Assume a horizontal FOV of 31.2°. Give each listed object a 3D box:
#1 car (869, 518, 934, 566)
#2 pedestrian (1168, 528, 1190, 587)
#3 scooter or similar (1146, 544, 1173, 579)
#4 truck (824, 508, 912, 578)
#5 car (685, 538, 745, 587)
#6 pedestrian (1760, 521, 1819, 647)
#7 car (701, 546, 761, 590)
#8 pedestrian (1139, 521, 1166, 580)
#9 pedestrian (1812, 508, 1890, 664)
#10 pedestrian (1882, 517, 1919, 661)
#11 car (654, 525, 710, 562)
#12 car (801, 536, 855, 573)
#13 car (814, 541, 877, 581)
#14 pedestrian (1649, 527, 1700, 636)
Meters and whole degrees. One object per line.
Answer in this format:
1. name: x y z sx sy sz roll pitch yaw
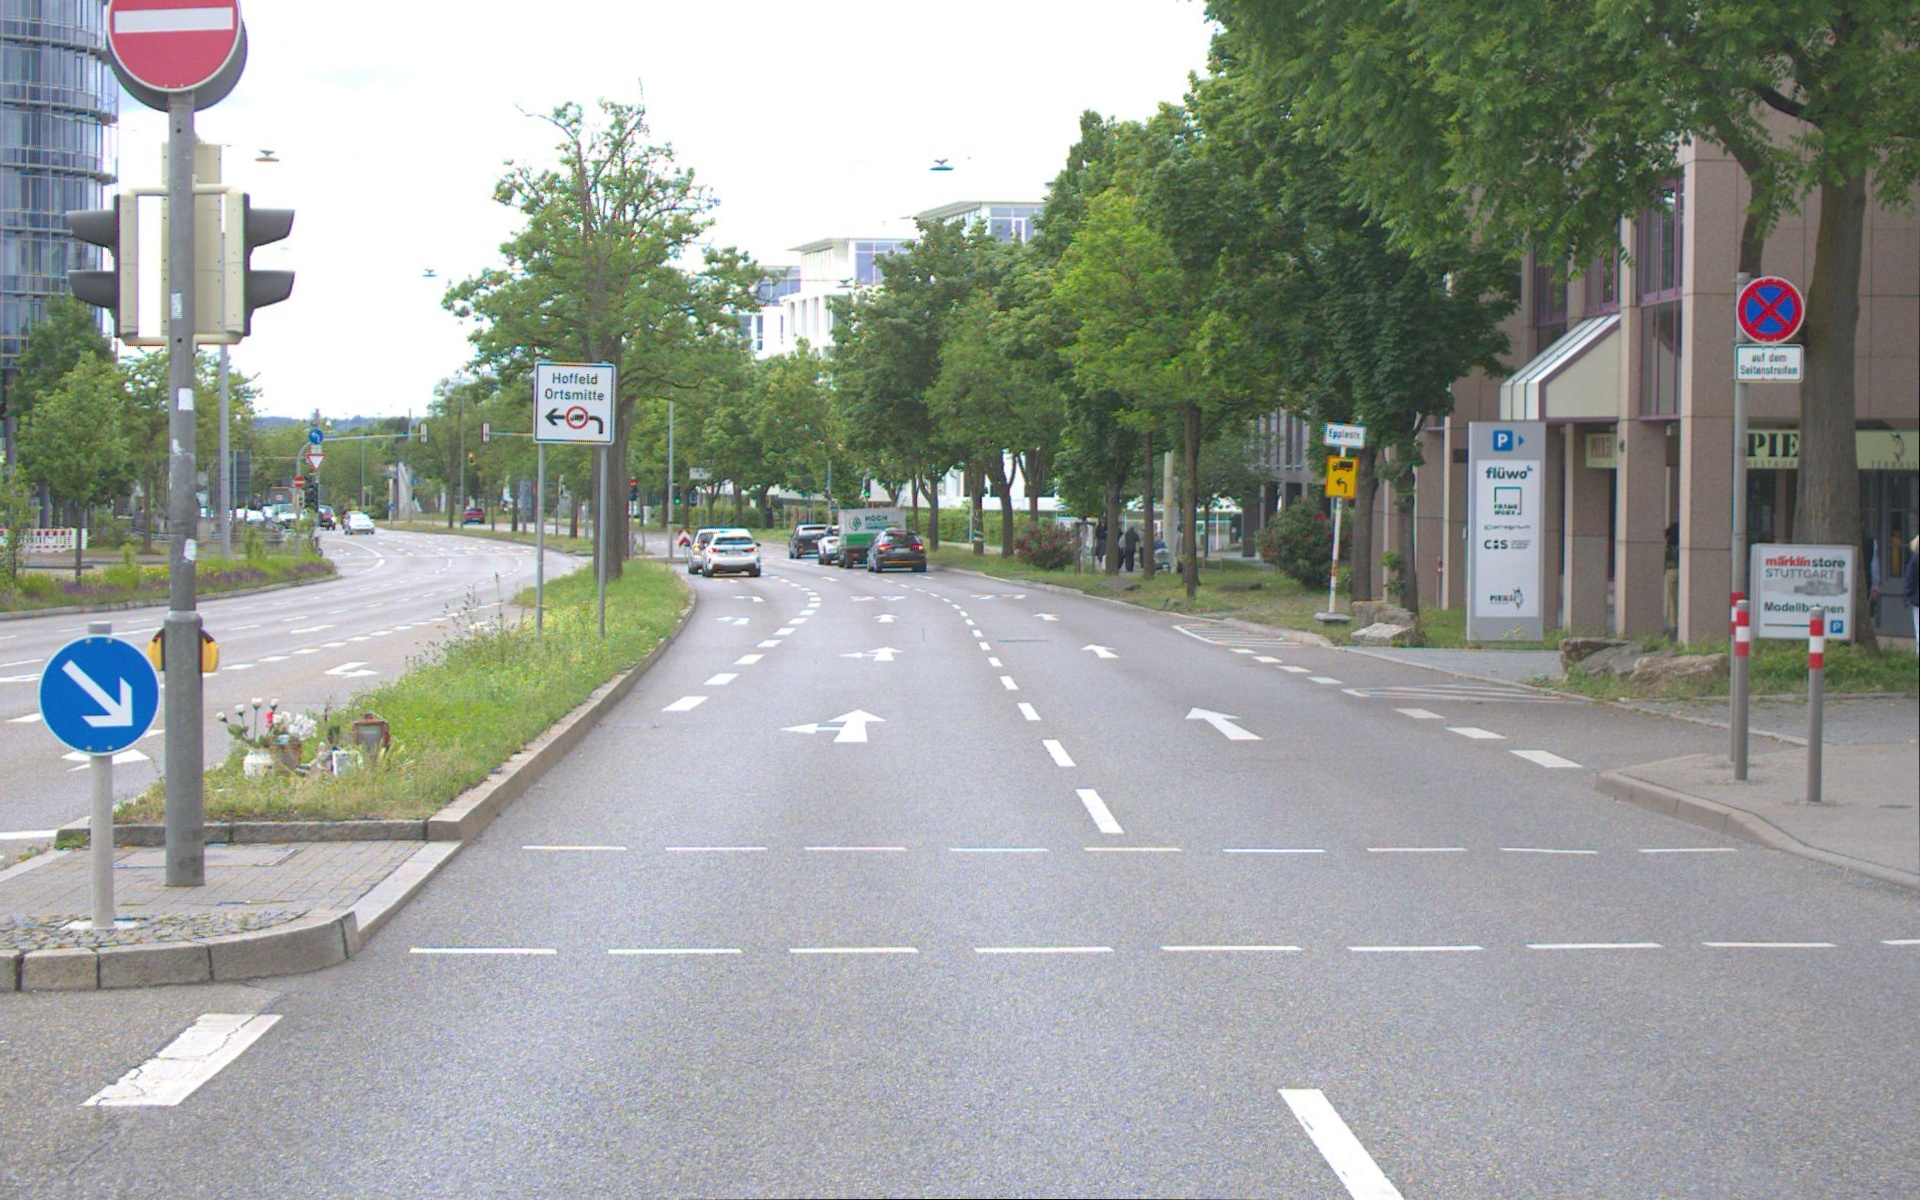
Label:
1. car: -2.022 -1.971 117.139 1.993 1.590 4.001 0 1 -4
2. pedestrian: 6.270 -1.217 98.500 0.567 1.694 0.829 0 0 -1
3. scooter or similar: 5.664 -1.092 97.548 0.583 0.990 0.847 -1 1 -9
4. truck: -3.423 -2.064 126.874 2.859 2.511 6.288 0 0 -5
5. car: -8.486 -1.287 118.920 1.993 1.666 4.001 0 0 -5
6. pedestrian: 10.260 -0.202 42.533 0.561 1.544 0.544 -1 1 -1
7. car: -7.582 -1.052 113.650 1.863 1.444 4.001 0 0 -5
8. pedestrian: 5.505 -1.419 98.439 0.555 1.647 0.962 -1 1 -9
9. pedestrian: 10.609 -0.167 40.968 0.657 1.820 0.843 -1 1 -1
10. pedestrian: 11.429 -0.140 40.876 0.657 1.685 0.843 -1 1 -1
11. car: -11.513 -2.352 142.484 1.993 1.503 4.000 0 1 0
12. car: -5.582 -1.911 145.215 1.993 1.503 4.001 0 0 -7
13. car: -4.480 -1.538 134.240 1.993 1.503 4.001 0 1 -8
14. pedestrian: 11.166 -0.295 53.748 0.595 1.699 0.969 0 1 1
